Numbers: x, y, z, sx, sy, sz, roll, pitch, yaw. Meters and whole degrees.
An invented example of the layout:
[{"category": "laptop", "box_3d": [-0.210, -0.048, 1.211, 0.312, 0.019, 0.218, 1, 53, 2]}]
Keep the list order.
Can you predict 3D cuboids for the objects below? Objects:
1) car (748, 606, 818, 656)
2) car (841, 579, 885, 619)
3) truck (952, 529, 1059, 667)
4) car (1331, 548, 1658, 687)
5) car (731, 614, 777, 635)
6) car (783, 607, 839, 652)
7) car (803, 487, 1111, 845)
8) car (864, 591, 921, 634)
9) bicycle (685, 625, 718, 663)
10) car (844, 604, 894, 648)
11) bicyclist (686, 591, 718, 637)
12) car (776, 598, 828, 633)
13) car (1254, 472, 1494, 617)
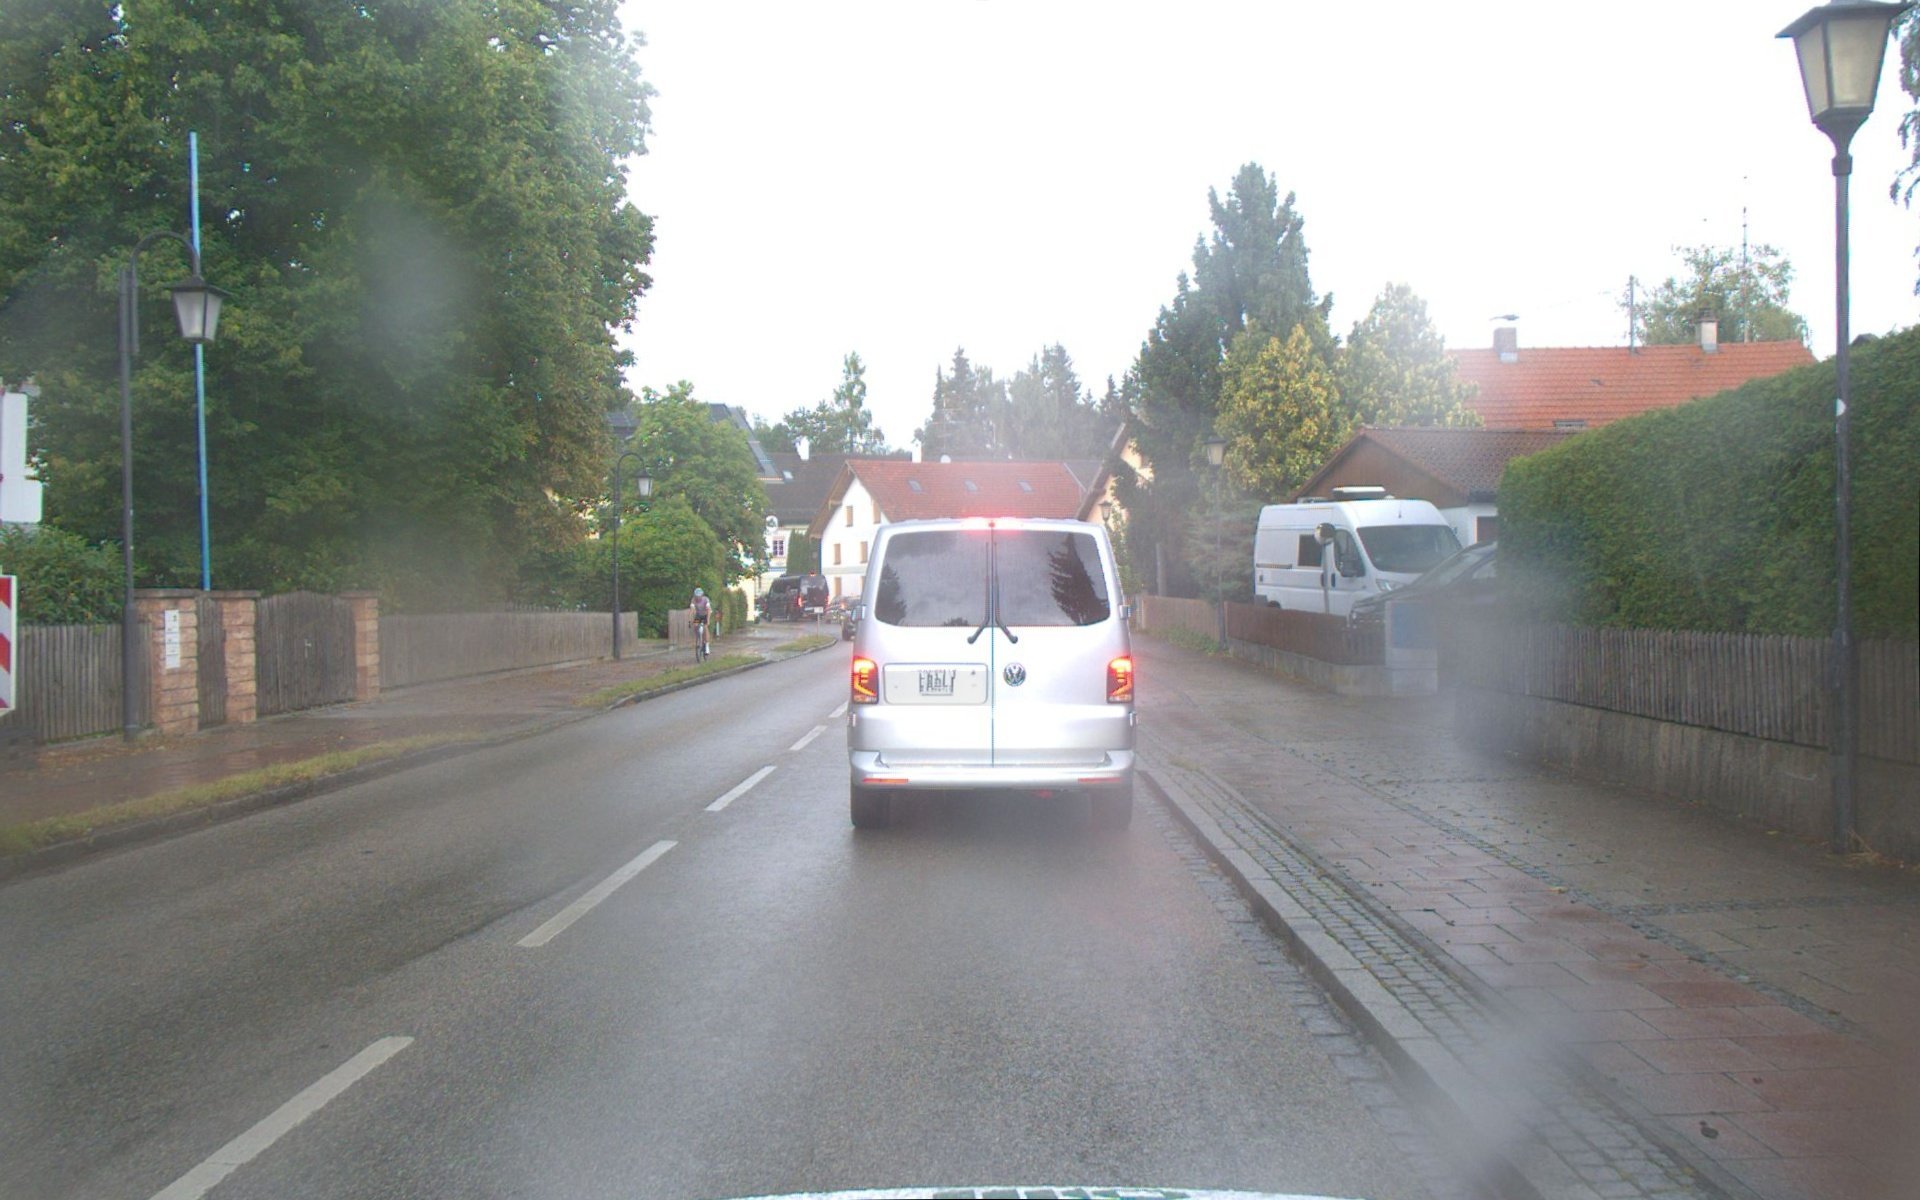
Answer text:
[{"category": "car", "box_3d": [-5.338, 0.928, 50.228, 1.584, 1.470, 3.671, 0, -1, 2]}, {"category": "car", "box_3d": [-5.290, -0.042, 89.615, 1.957, 2.049, 3.991, 1, -1, -9]}, {"category": "truck", "box_3d": [1.045, -0.015, 41.359, 2.425, 3.128, 6.295, 1, -1, 0]}, {"category": "car", "box_3d": [7.407, 0.205, 23.123, 4.012, 1.782, 1.694, -1, 2, -3]}, {"category": "car", "box_3d": [-13.372, 1.573, 107.257, 1.759, 1.333, 3.742, 1, -1, -27]}, {"category": "car", "box_3d": [-5.061, 0.997, 56.459, 1.585, 1.470, 3.670, 0, -1, 0]}, {"category": "car", "box_3d": [0.077, 0.402, 11.613, 1.763, 2.049, 4.001, 1, -1, 3]}, {"category": "car", "box_3d": [-3.354, 0.624, 81.693, 1.961, 2.049, 3.983, 1, -1, -16]}, {"category": "bicycle", "box_3d": [-5.951, 1.007, 38.176, 0.447, 0.812, 1.977, 0, 0, 0]}, {"category": "car", "box_3d": [-3.517, 0.978, 63.368, 1.791, 1.586, 4.173, -1, -1, -4]}, {"category": "bicyclist", "box_3d": [-5.959, 0.322, 38.201, 0.575, 1.039, 1.060, 0, 0, 0]}, {"category": "car", "box_3d": [-9.258, 0.880, 96.613, 1.966, 1.961, 3.973, 1, -1, -22]}, {"category": "car", "box_3d": [6.904, -0.843, 28.196, 1.959, 2.212, 4.936, 1, -1, -13]}]
